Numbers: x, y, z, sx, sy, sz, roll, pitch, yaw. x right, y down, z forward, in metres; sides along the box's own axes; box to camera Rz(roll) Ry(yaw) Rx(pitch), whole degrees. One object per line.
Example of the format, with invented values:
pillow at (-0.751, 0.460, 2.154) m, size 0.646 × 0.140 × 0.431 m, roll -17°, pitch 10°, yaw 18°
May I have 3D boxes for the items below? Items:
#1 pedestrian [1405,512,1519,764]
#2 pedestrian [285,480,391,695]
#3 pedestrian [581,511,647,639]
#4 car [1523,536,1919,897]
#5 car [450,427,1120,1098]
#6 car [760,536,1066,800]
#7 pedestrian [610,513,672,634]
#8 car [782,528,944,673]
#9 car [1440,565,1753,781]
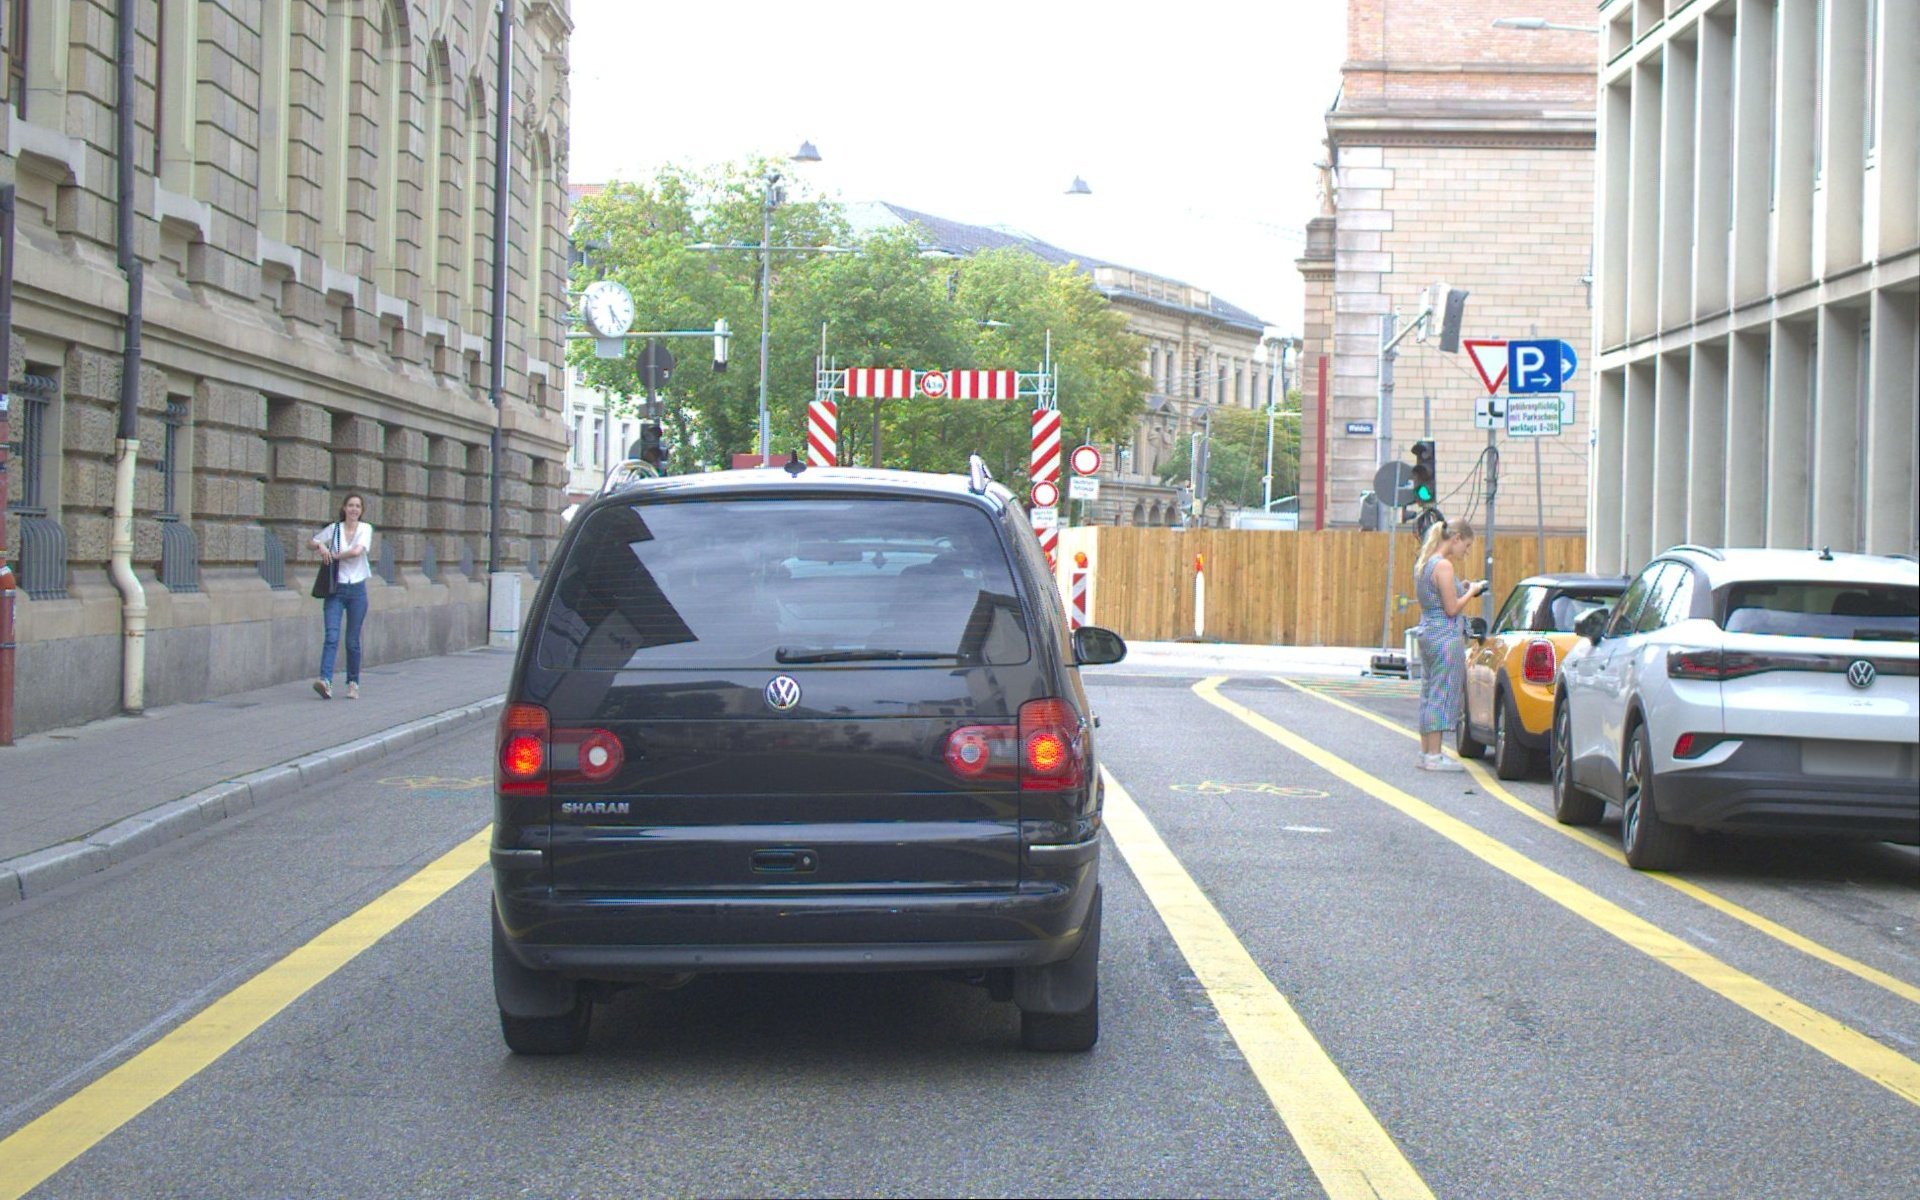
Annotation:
pedestrian at (3.561, 0.261, 24.434) m, size 0.698 × 1.757 × 0.706 m, roll 1°, pitch 0°, yaw 1°
pedestrian at (-5.417, -0.110, 29.973) m, size 0.664 × 1.813 × 1.048 m, roll 3°, pitch 0°, yaw -1°
pedestrian at (-5.028, -0.362, 50.016) m, size 0.792 × 1.813 × 1.048 m, roll 3°, pitch 0°, yaw -1°
car at (4.265, 0.542, 18.291) m, size 1.860 × 1.599 × 4.512 m, roll 4°, pitch 1°, yaw 2°
car at (-0.391, 0.412, 11.215) m, size 1.790 × 1.784 × 4.103 m, roll 0°, pitch 0°, yaw 2°
car at (-0.206, 0.367, 21.669) m, size 1.678 × 1.464 × 4.103 m, roll 1°, pitch 1°, yaw 2°
pedestrian at (-4.919, -0.413, 53.074) m, size 0.792 × 1.813 × 1.048 m, roll 3°, pitch 0°, yaw -1°
car at (-1.104, -0.009, 40.112) m, size 1.773 × 1.580 × 4.000 m, roll 1°, pitch 0°, yaw -1°
car at (4.526, 0.472, 24.927) m, size 1.680 × 1.430 × 3.886 m, roll 0°, pitch 1°, yaw 2°
